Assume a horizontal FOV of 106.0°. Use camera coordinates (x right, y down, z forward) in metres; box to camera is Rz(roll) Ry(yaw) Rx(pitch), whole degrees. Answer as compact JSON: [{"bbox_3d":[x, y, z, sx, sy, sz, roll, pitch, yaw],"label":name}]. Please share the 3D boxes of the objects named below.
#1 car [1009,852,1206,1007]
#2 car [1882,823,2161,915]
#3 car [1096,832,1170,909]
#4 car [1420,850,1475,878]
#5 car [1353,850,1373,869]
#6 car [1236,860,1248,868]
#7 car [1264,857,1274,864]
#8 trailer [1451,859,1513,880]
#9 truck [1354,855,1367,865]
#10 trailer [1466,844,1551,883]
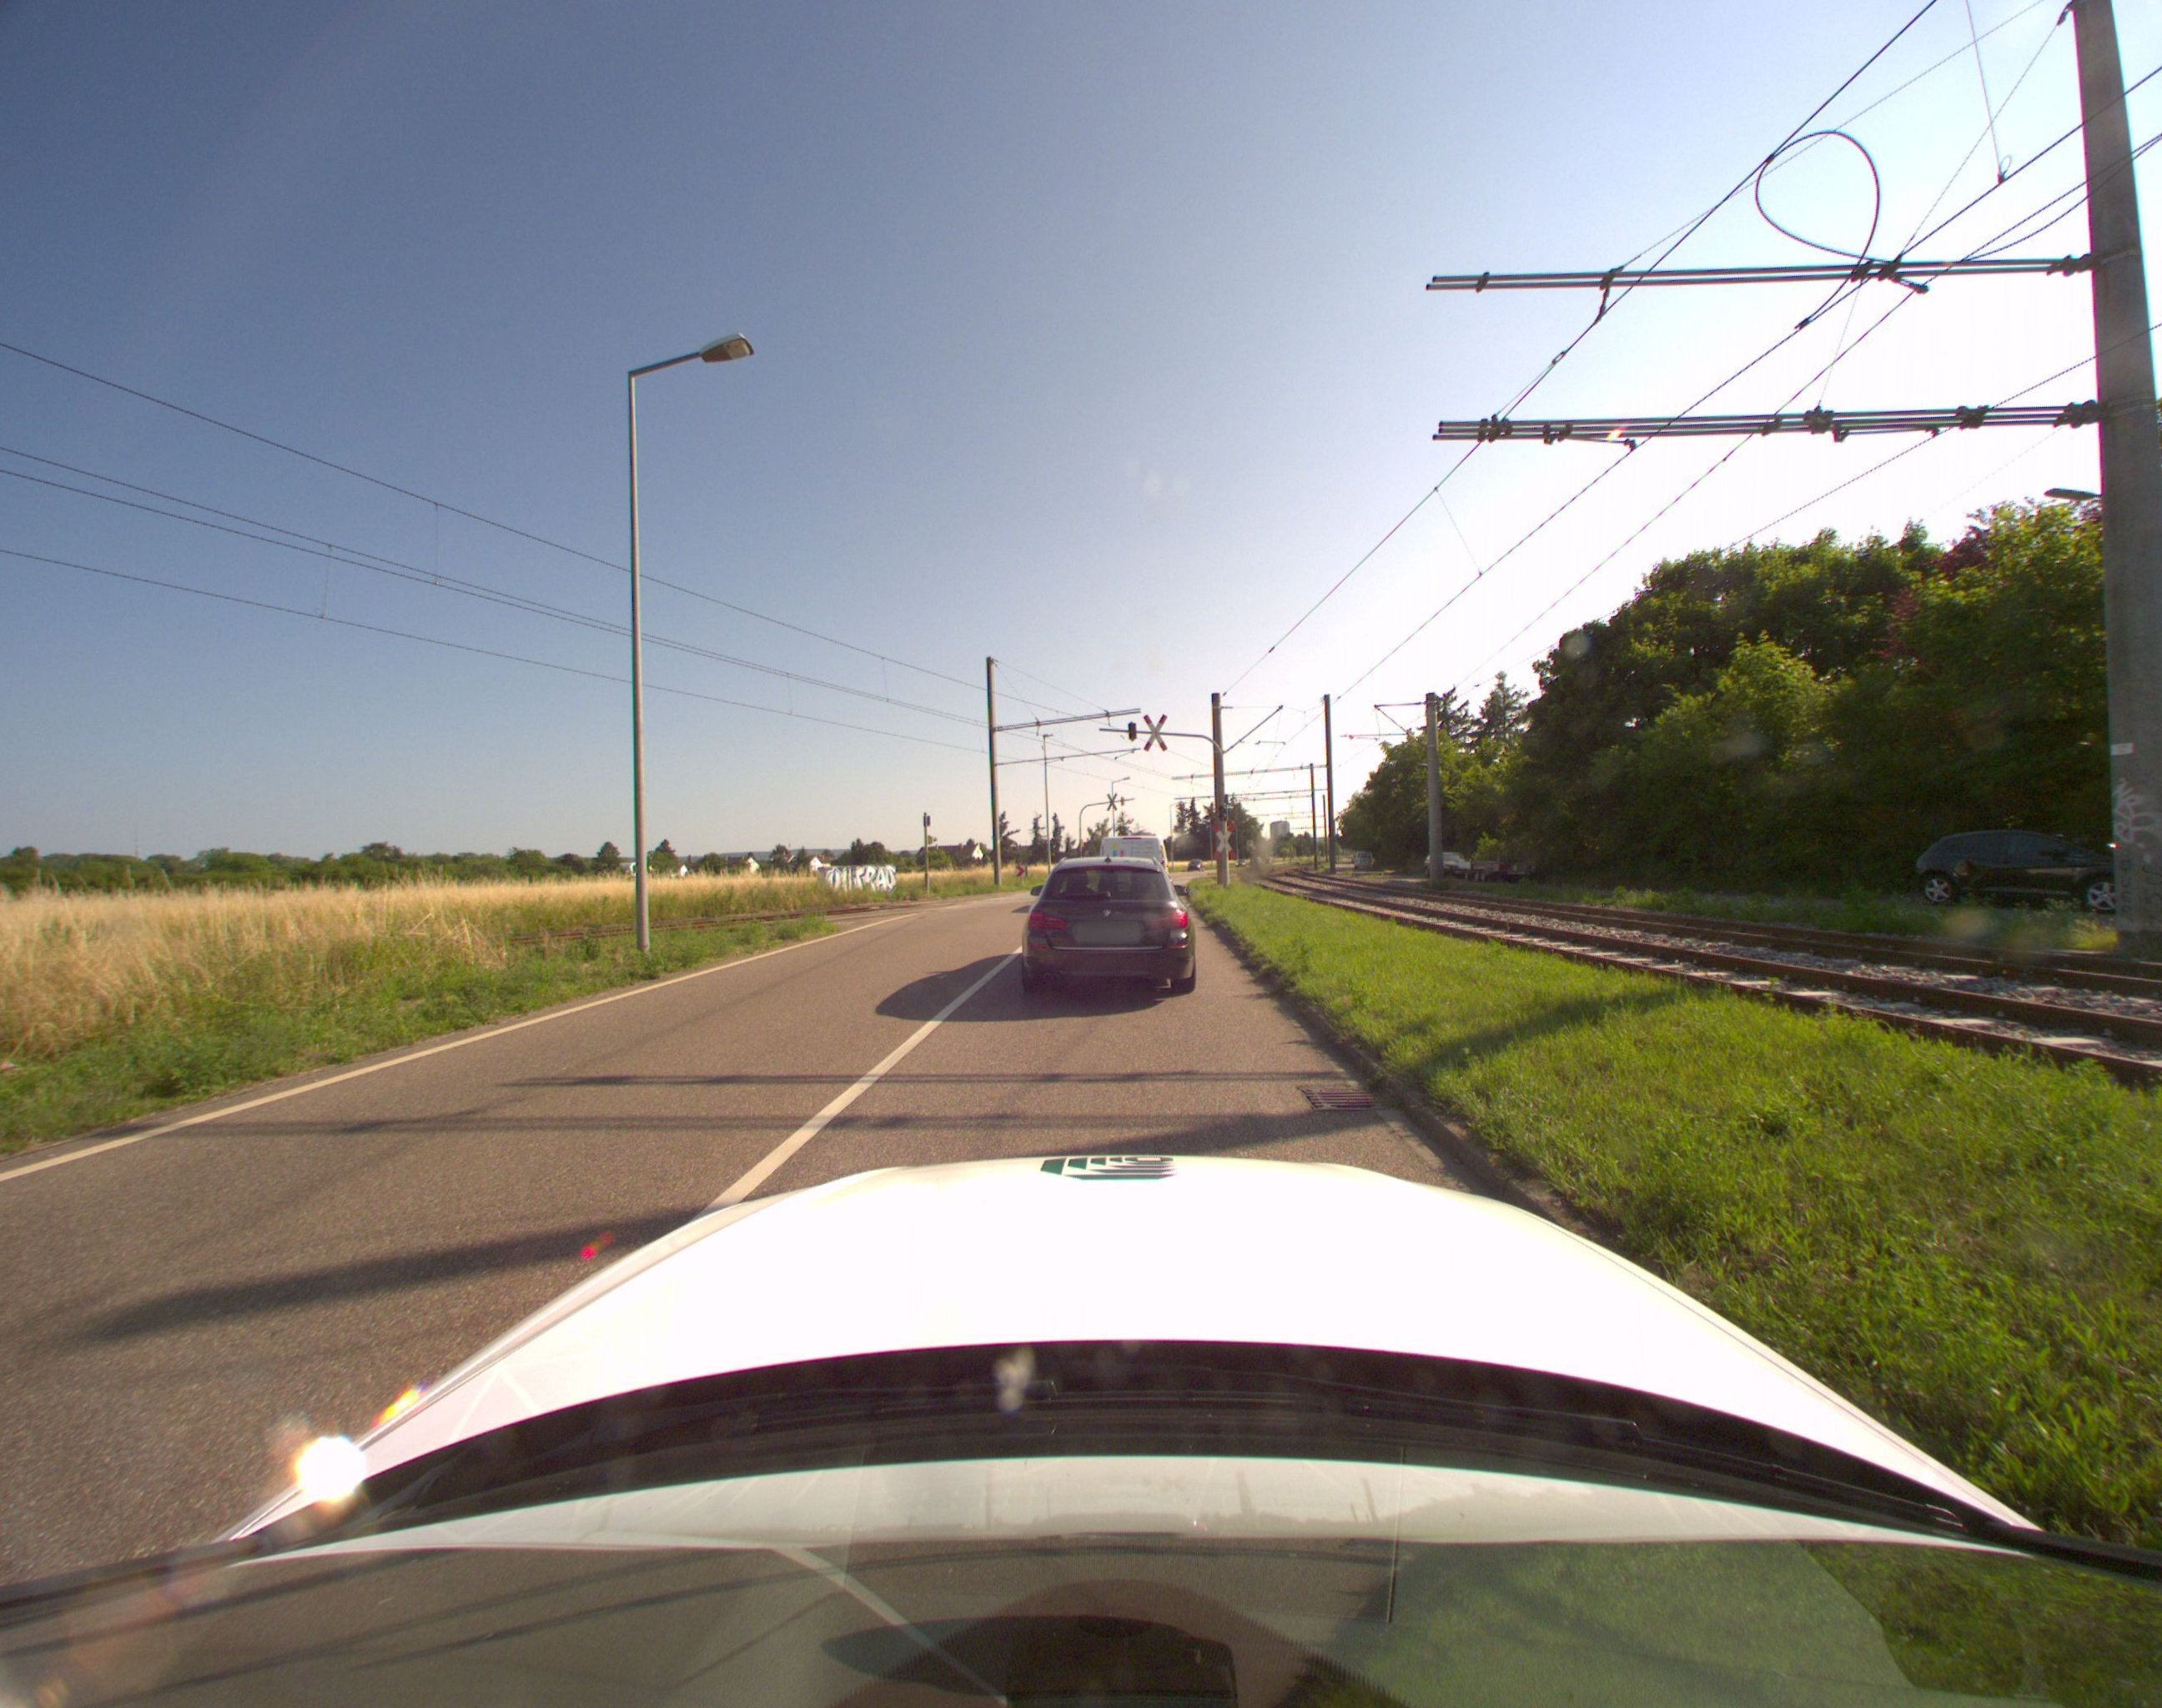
[{"bbox_3d":[0.319,0.719,10.183,1.862,1.452,4.745,-1,0,2],"label":"car"},{"bbox_3d":[17.377,0.242,14.602,1.617,1.410,4.521,0,-1,1],"label":"car"},{"bbox_3d":[1.633,0.438,23.868,1.848,1.988,5.117,-1,0,7],"label":"car"},{"bbox_3d":[19.901,0.519,44.441,1.687,1.456,4.896,1,0,11],"label":"car"},{"bbox_3d":[31.820,0.597,92.057,1.978,2.004,5.090,1,0,17],"label":"car"},{"bbox_3d":[28.625,1.772,144.830,1.679,1.439,4.303,-1,0,18],"label":"car"},{"bbox_3d":[43.544,1.576,188.803,1.698,1.549,3.948,-1,-1,21],"label":"car"},{"bbox_3d":[19.457,0.743,39.677,1.721,0.939,3.737,1,0,9],"label":"trailer"},{"bbox_3d":[56.227,1.162,163.908,2.187,1.819,5.956,-2,-1,18],"label":"truck"},{"bbox_3d":[18.613,0.395,35.706,2.015,1.596,4.269,1,0,8],"label":"trailer"}]
